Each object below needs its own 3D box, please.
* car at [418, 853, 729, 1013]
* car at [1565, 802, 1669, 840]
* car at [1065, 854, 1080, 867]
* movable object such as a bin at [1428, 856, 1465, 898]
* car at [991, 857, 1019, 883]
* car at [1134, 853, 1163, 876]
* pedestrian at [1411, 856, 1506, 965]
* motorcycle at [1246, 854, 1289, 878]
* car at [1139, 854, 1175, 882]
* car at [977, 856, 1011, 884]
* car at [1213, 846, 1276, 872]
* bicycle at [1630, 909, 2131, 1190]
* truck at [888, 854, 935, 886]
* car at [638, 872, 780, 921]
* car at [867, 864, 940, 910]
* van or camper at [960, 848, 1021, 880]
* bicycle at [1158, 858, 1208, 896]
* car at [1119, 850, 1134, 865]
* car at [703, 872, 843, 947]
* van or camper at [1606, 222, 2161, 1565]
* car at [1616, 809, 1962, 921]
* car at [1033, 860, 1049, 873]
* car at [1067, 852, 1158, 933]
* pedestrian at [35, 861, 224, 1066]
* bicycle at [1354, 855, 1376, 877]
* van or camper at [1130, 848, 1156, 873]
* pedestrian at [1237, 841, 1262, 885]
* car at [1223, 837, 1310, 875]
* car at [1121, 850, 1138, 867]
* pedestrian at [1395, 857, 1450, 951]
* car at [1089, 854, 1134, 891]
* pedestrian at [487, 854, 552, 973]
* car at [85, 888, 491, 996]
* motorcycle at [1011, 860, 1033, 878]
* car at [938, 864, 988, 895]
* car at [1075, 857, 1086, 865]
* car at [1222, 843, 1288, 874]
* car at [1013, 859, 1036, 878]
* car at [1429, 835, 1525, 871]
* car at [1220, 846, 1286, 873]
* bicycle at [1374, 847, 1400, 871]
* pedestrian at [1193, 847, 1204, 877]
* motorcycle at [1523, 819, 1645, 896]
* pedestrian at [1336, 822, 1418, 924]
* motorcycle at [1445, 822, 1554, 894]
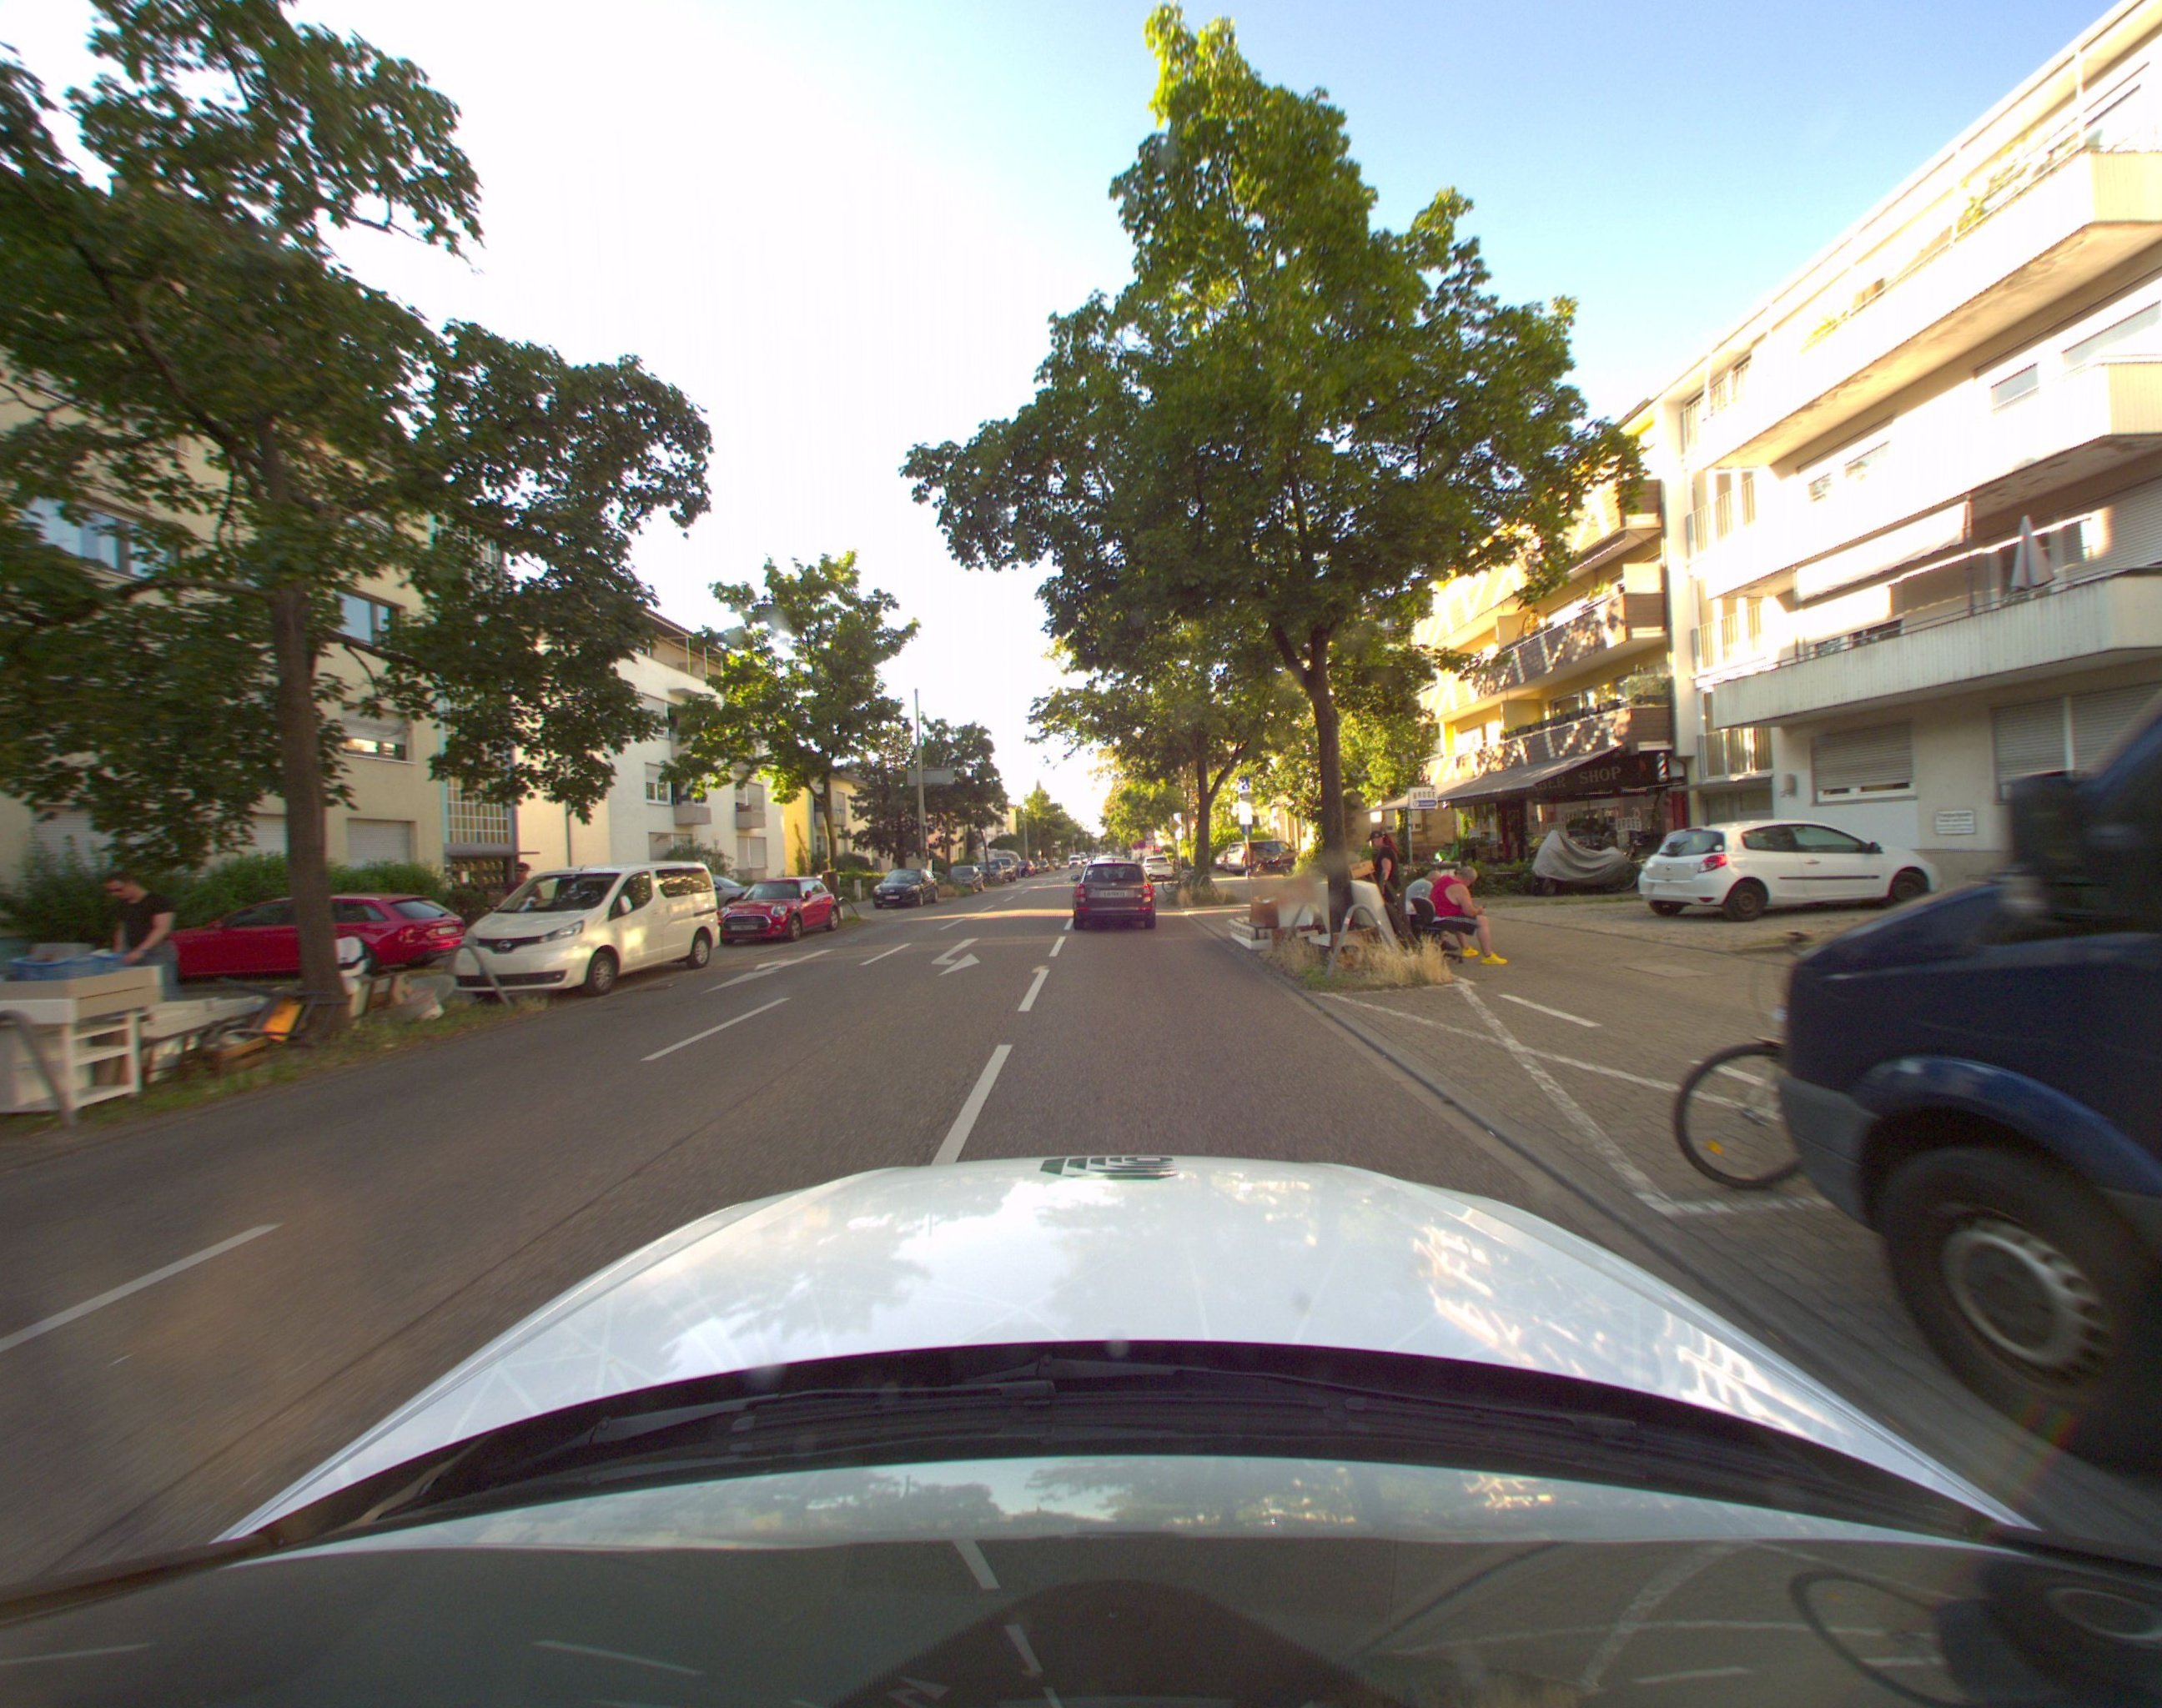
[{"bbox_3d":[-7.337,0.990,12.452,1.763,1.919,4.461,-3,0,2],"label":"car"},{"bbox_3d":[23.095,-1.408,35.176,3.333,1.418,1.661,-3,0,2],"label":"car"},{"bbox_3d":[-1.239,0.909,116.633,1.870,1.757,4.180,-3,0,1],"label":"car"},{"bbox_3d":[8.676,0.544,19.356,0.610,0.949,0.540,-3,0,2],"label":"movable object such as a bin"},{"bbox_3d":[-5.631,1.193,60.718,1.501,1.757,3.695,-3,0,1],"label":"car"},{"bbox_3d":[4.468,0.681,54.427,1.813,1.413,4.115,-3,0,4],"label":"car"},{"bbox_3d":[4.635,0.672,10.033,0.795,1.254,0.700,-3,0,-1],"label":"pedestrian"},{"bbox_3d":[9.673,0.605,42.208,2.047,1.125,0.525,-3,0,-4],"label":"motorcycle"},{"bbox_3d":[4.232,0.753,45.942,1.813,1.413,4.115,-3,0,4],"label":"car"},{"bbox_3d":[-5.967,1.092,56.035,1.744,1.740,3.592,-3,0,2],"label":"car"},{"bbox_3d":[10.797,0.347,53.897,3.813,1.525,1.501,-3,0,-21],"label":"car"},{"bbox_3d":[3.458,0.839,3.603,1.694,1.089,0.405,-3,0,4],"label":"bicycle"},{"bbox_3d":[-11.967,1.093,57.614,2.903,2.093,1.546,-3,0,1],"label":"truck"},{"bbox_3d":[-12.859,1.456,28.386,3.977,1.479,1.998,-2,0,-3],"label":"car"},{"bbox_3d":[-6.779,1.226,31.554,1.710,1.497,4.249,-3,0,2],"label":"car"},{"bbox_3d":[-11.935,1.272,107.384,7.617,3.874,1.999,-3,0,-1],"label":"van or camper"},{"bbox_3d":[3.771,0.852,30.182,1.658,1.226,0.638,-5,0,14],"label":"bicycle"},{"bbox_3d":[5.878,0.399,105.633,1.724,1.815,3.950,-3,0,0],"label":"car"},{"bbox_3d":[-7.122,1.227,19.282,1.710,1.421,3.788,-3,0,2],"label":"car"},{"bbox_3d":[3.132,0.055,0.290,2.060,2.675,5.992,-3,-1,2],"label":"van or camper"},{"bbox_3d":[11.139,0.157,13.013,3.977,1.462,1.823,-3,0,-2],"label":"car"},{"bbox_3d":[-4.762,1.523,97.478,1.658,1.432,3.276,-3,0,1],"label":"car"},{"bbox_3d":[0.710,0.762,18.050,1.722,1.493,3.953,-3,0,3],"label":"car"},{"bbox_3d":[-10.083,1.101,8.677,0.764,2.013,0.976,-3,0,1],"label":"pedestrian"},{"bbox_3d":[12.344,0.522,35.432,0.341,0.950,1.580,0,-1,-4],"label":"bicycle"},{"bbox_3d":[5.290,0.527,69.835,1.986,2.013,4.002,-3,0,2],"label":"van or camper"},{"bbox_3d":[7.092,0.377,34.304,0.754,1.796,0.905,-3,0,-3],"label":"pedestrian"},{"bbox_3d":[10.432,0.127,45.755,4.557,1.892,1.898,-3,0,-26],"label":"car"},{"bbox_3d":[5.545,0.468,93.140,1.724,1.815,3.950,-3,0,0],"label":"car"},{"bbox_3d":[4.791,0.695,11.464,0.647,1.254,0.661,-3,0,21],"label":"pedestrian"},{"bbox_3d":[1.340,0.795,37.281,1.725,1.493,3.947,-3,0,-2],"label":"car"},{"bbox_3d":[-9.814,1.014,14.251,0.624,2.013,0.616,-3,0,1],"label":"pedestrian"},{"bbox_3d":[-13.581,1.452,14.323,4.714,1.362,1.992,-3,0,-12],"label":"car"},{"bbox_3d":[-5.179,1.349,71.020,0.771,1.512,2.006,-3,0,-41],"label":"motorcycle"},{"bbox_3d":[-6.141,1.304,42.867,1.747,1.420,4.428,-3,0,2],"label":"car"},{"bbox_3d":[-0.060,1.384,165.337,1.986,1.508,4.001,-3,0,2],"label":"car"},{"bbox_3d":[10.504,0.279,49.162,3.822,1.679,1.498,-3,0,-28],"label":"car"},{"bbox_3d":[-5.253,1.332,76.014,1.658,1.512,4.180,-3,0,1],"label":"car"},{"bbox_3d":[20.147,-0.052,41.544,3.902,1.585,1.930,-3,0,2],"label":"car"},{"bbox_3d":[10.938,0.349,51.771,3.813,1.525,1.501,-3,0,-21],"label":"car"},{"bbox_3d":[13.070,0.212,34.833,0.341,0.950,1.580,-5,0,-4],"label":"bicycle"},{"bbox_3d":[7.127,0.494,49.580,0.533,1.794,0.688,-3,0,3],"label":"pedestrian"},{"bbox_3d":[11.578,0.081,18.809,2.182,1.621,0.892,-3,0,7],"label":"motorcycle"},{"bbox_3d":[4.561,0.280,12.565,1.065,1.476,0.476,-3,0,-18],"label":"pedestrian"},{"bbox_3d":[10.148,0.108,19.823,2.182,1.621,0.733,-3,0,7],"label":"motorcycle"}]
